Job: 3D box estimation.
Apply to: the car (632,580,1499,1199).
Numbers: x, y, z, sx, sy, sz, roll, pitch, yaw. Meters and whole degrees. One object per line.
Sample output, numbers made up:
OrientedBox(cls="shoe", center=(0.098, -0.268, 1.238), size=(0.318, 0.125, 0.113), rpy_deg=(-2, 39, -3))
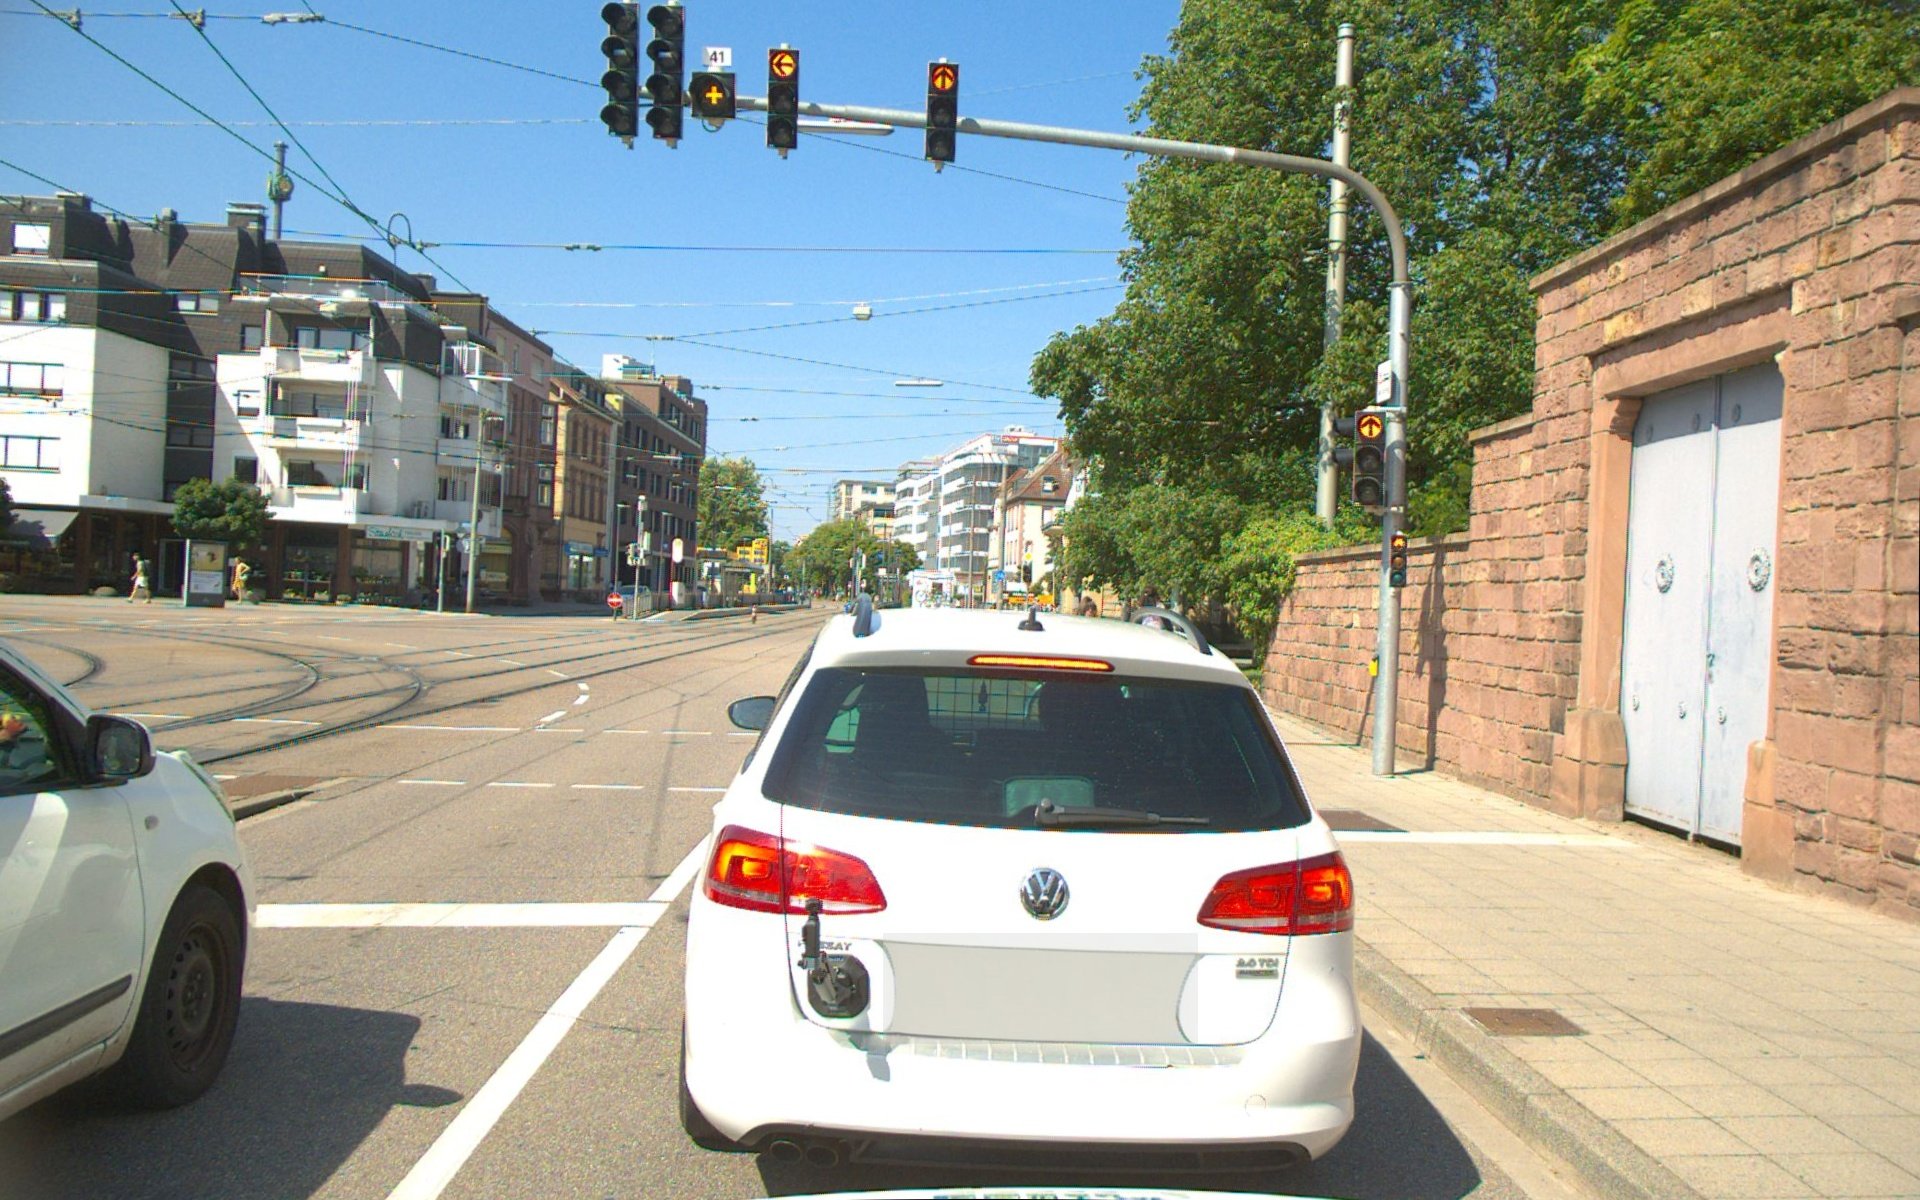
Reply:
OrientedBox(cls="car", center=(0.187, 0.715, 5.442), size=(1.771, 1.473, 3.999), rpy_deg=(2, 0, -1))

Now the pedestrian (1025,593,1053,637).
OrientedBox(cls="pedestrian", center=(3.208, 0.607, 67.524), size=(0.848, 1.773, 0.970), rpy_deg=(1, -1, -18))

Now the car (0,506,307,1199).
OrientedBox(cls="car", center=(-2.842, 0.591, 3.310), size=(1.608, 1.593, 3.803), rpy_deg=(1, 1, -1))

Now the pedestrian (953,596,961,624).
OrientedBox(cls="pedestrian", center=(-0.293, 0.878, 144.785), size=(0.675, 2.366, 1.232), rpy_deg=(0, -1, 0))

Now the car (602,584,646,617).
OrientedBox(cls="car", center=(-17.470, 0.023, 86.153), size=(1.706, 1.646, 3.996), rpy_deg=(0, -1, -4))

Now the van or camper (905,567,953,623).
OrientedBox(cls="van or camper", center=(-1.861, -0.251, 97.644), size=(2.516, 3.147, 5.698), rpy_deg=(0, -1, -4))

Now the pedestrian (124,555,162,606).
OrientedBox(cls="pedestrian", center=(-29.180, -0.684, 59.045), size=(0.849, 1.773, 0.968), rpy_deg=(-1, -1, 43))

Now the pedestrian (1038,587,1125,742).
OrientedBox(cls="pedestrian", center=(1.279, 0.675, 17.551), size=(0.733, 1.599, 0.673), rpy_deg=(1, 1, -14))

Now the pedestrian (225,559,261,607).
OrientedBox(cls="pedestrian", center=(-27.229, -0.629, 62.832), size=(0.849, 1.773, 0.969), rpy_deg=(-1, -1, 43))

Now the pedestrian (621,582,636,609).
OrientedBox(cls="pedestrian", center=(-22.303, -0.316, 111.302), size=(0.845, 1.773, 0.973), rpy_deg=(1, -1, -6))

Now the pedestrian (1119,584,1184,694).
OrientedBox(cls="pedestrian", center=(2.997, 0.596, 25.806), size=(0.932, 1.680, 0.976), rpy_deg=(0, -1, 11))

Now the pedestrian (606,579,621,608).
OrientedBox(cls="pedestrian", center=(-22.050, -0.403, 105.195), size=(0.845, 1.773, 0.973), rpy_deg=(1, -1, -6))

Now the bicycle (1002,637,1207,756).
OrientedBox(cls="bicycle", center=(1.485, 0.973, 17.030), size=(1.984, 1.109, 0.708), rpy_deg=(-1, 2, -12))
